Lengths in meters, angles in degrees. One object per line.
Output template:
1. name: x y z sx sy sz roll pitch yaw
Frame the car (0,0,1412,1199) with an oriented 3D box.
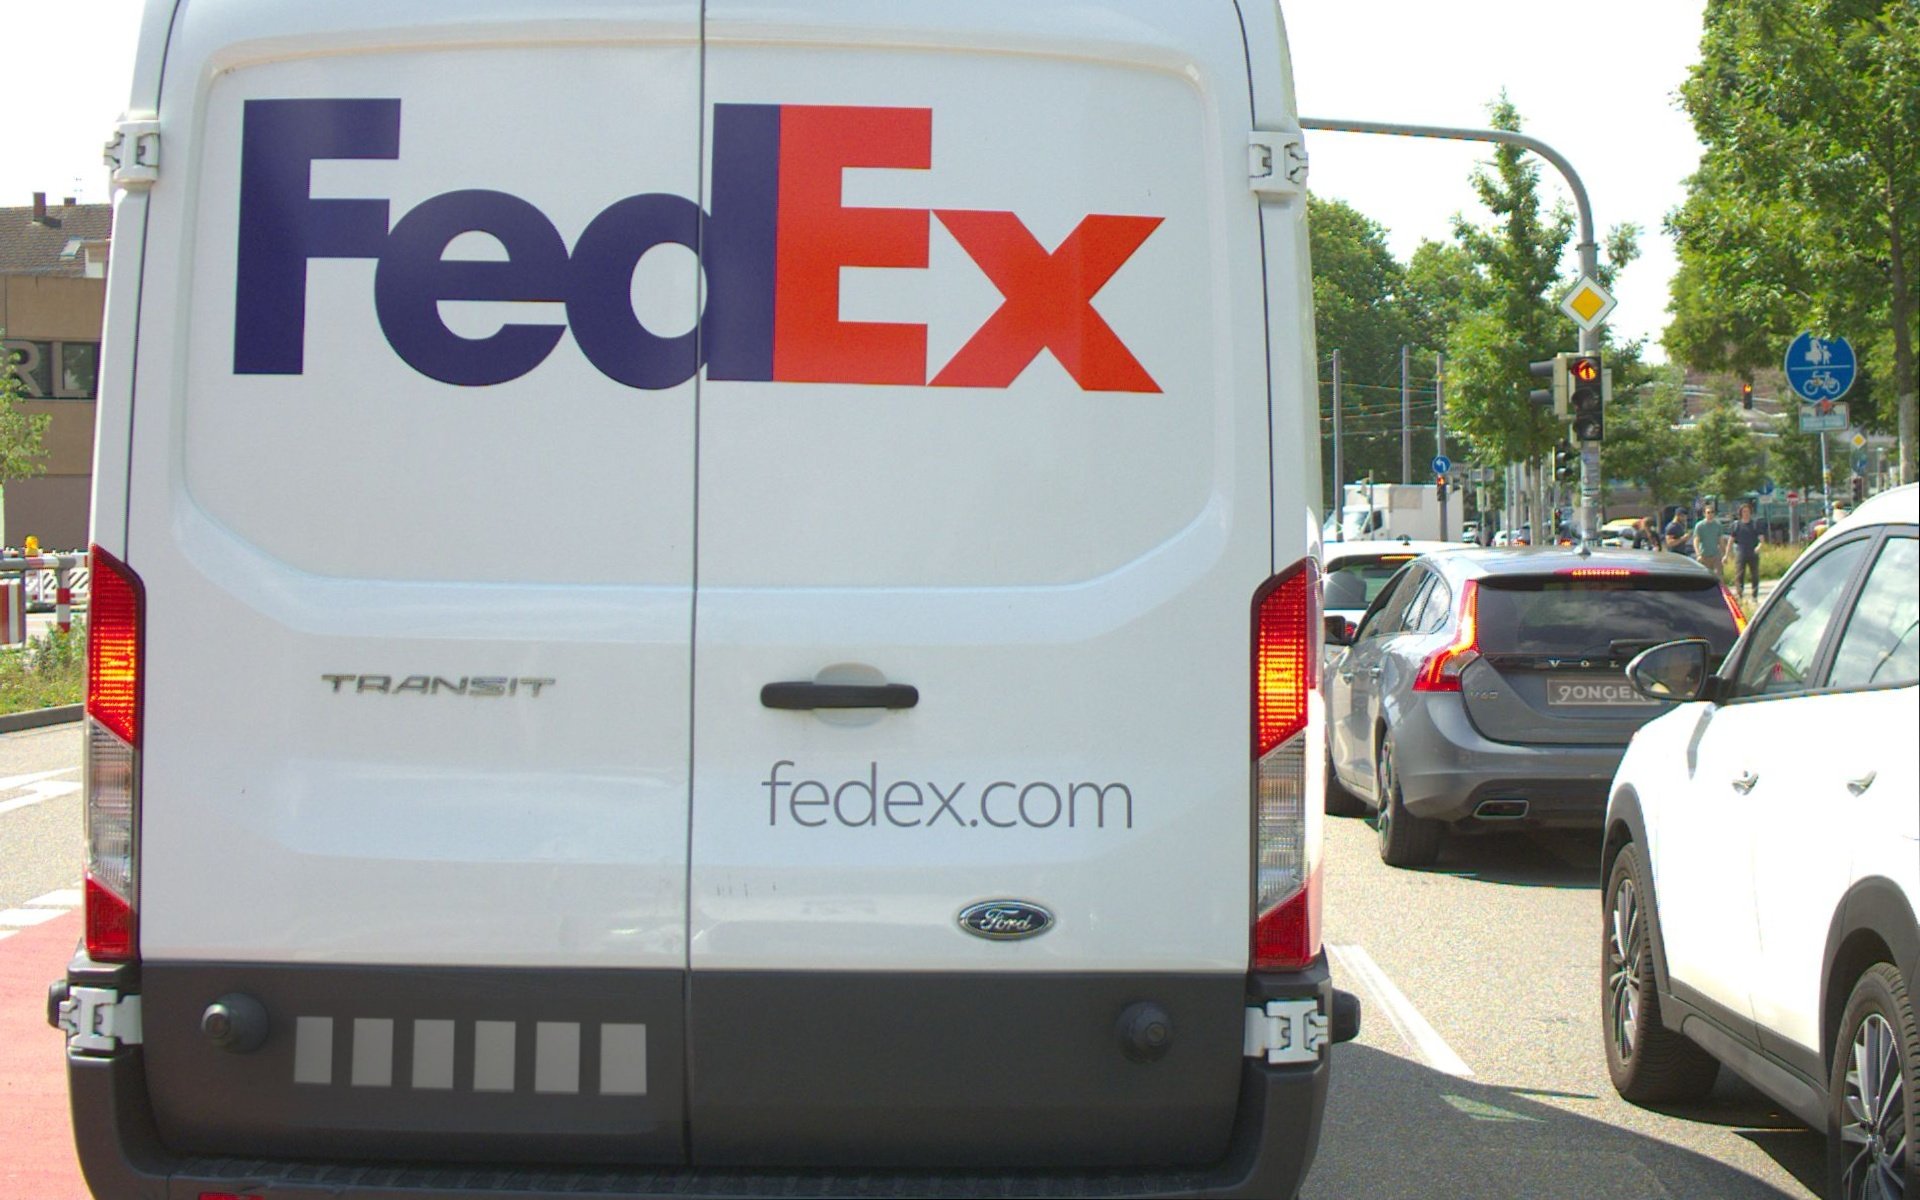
1. car: -0.349 0.068 7.214 2.072 2.572 4.428 0 1 1

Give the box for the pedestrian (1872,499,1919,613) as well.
1. pedestrian: 15.471 -0.729 56.344 0.758 1.843 0.816 -1 1 -8

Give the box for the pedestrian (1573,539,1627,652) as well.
1. pedestrian: 10.562 -0.074 56.688 0.759 1.843 0.815 0 1 18

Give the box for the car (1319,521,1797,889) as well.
1. car: 2.739 0.406 16.485 1.691 1.543 3.720 0 1 1

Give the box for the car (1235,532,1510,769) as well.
1. car: 2.729 0.284 23.329 1.499 1.459 3.474 0 1 1

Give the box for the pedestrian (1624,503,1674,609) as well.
1. pedestrian: 12.097 -0.782 60.367 0.759 1.843 0.815 0 1 18

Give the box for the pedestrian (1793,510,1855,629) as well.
1. pedestrian: 13.633 -0.488 54.255 0.758 1.843 0.816 -1 1 -1

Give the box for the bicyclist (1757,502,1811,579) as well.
1. bicyclist: 23.306 -1.683 97.216 1.433 2.164 1.338 0 1 15

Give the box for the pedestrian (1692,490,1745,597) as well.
1. pedestrian: 13.270 -0.990 60.152 0.759 1.843 0.816 -1 1 1

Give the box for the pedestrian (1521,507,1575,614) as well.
1. pedestrian: 10.258 -0.699 59.999 0.813 1.843 0.761 -1 1 3

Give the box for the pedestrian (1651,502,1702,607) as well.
1. pedestrian: 12.746 -0.808 61.174 0.759 1.843 0.816 -1 1 3

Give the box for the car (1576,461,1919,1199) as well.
1. car: 2.592 0.547 7.557 1.814 1.673 3.974 0 1 1

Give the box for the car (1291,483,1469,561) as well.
1. car: 15.445 -2.825 126.082 7.065 2.708 2.495 0 1 -43

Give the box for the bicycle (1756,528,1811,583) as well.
1. bicycle: 23.330 -1.270 97.312 1.426 1.459 4.308 0 2 15

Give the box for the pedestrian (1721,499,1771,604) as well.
1. pedestrian: 13.464 -0.836 58.919 0.759 1.783 0.816 0 1 8

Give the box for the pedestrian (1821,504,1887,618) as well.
1. pedestrian: 14.609 -0.647 56.165 0.758 1.843 0.816 -1 1 -10

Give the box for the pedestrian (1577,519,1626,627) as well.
1. pedestrian: 11.013 -0.465 59.035 0.759 1.843 0.816 0 1 15
